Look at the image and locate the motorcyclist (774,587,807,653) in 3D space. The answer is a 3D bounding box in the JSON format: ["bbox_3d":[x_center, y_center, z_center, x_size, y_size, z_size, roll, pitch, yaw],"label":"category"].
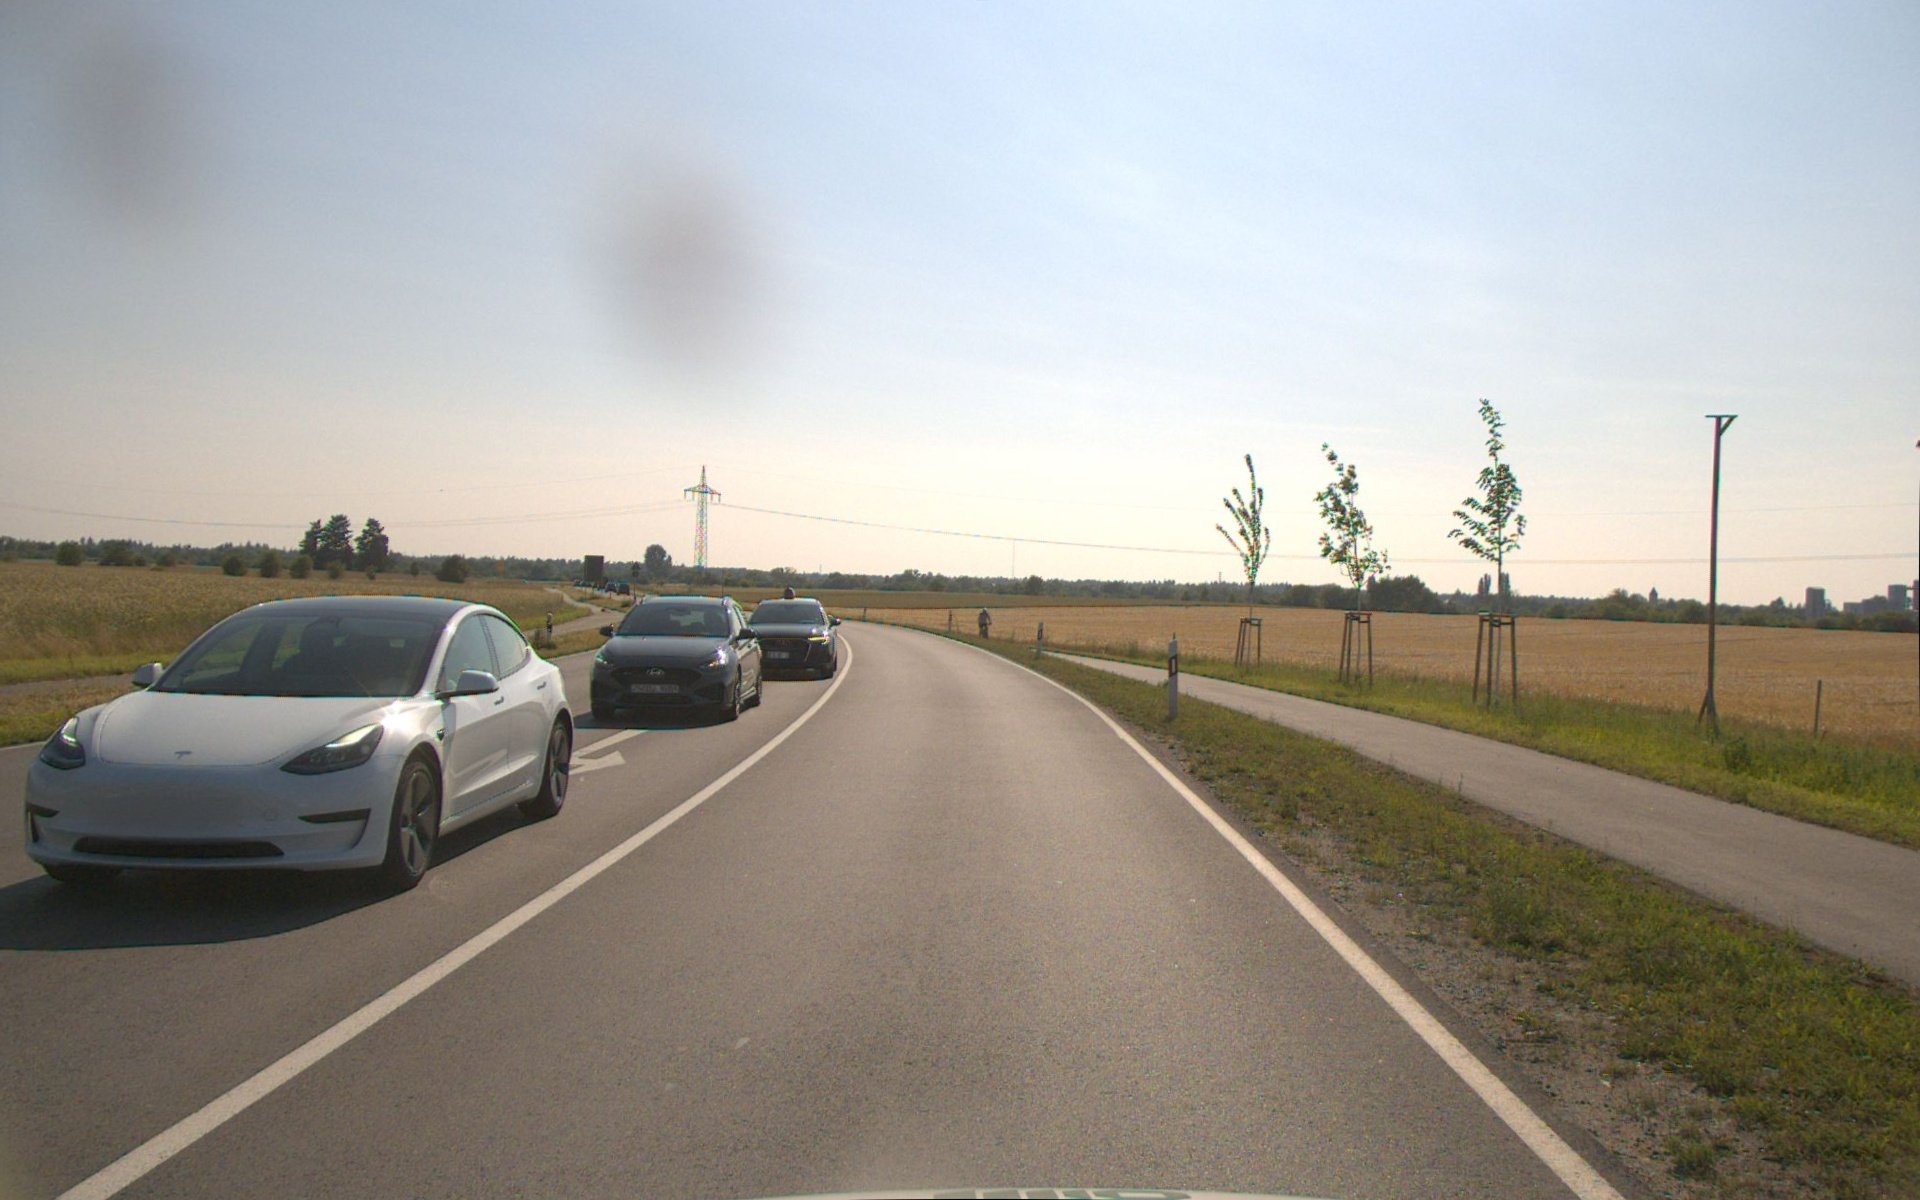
[{"bbox_3d":[-3.983,0.466,38.827,0.664,1.521,0.847,1,0,-1],"label":"motorcyclist"}]

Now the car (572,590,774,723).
[{"bbox_3d":[-3.534,0.662,21.149,1.851,1.486,4.305,1,0,-1],"label":"car"}]

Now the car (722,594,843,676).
[{"bbox_3d":[-3.417,0.646,32.655,1.851,1.461,4.796,1,0,0],"label":"car"}]

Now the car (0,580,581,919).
[{"bbox_3d":[-3.609,0.664,9.508,1.851,1.492,4.275,1,0,0],"label":"car"}]

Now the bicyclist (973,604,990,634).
[{"bbox_3d":[1.085,0.976,84.229,0.626,1.482,0.814,4,-1,-12],"label":"bicyclist"}]

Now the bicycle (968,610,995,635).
[{"bbox_3d":[1.105,1.142,84.312,0.830,1.162,2.199,4,-1,-13],"label":"bicycle"}]

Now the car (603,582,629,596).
[{"bbox_3d":[-52.805,-1.696,253.698,1.829,1.865,4.404,6,0,-40],"label":"car"}]
